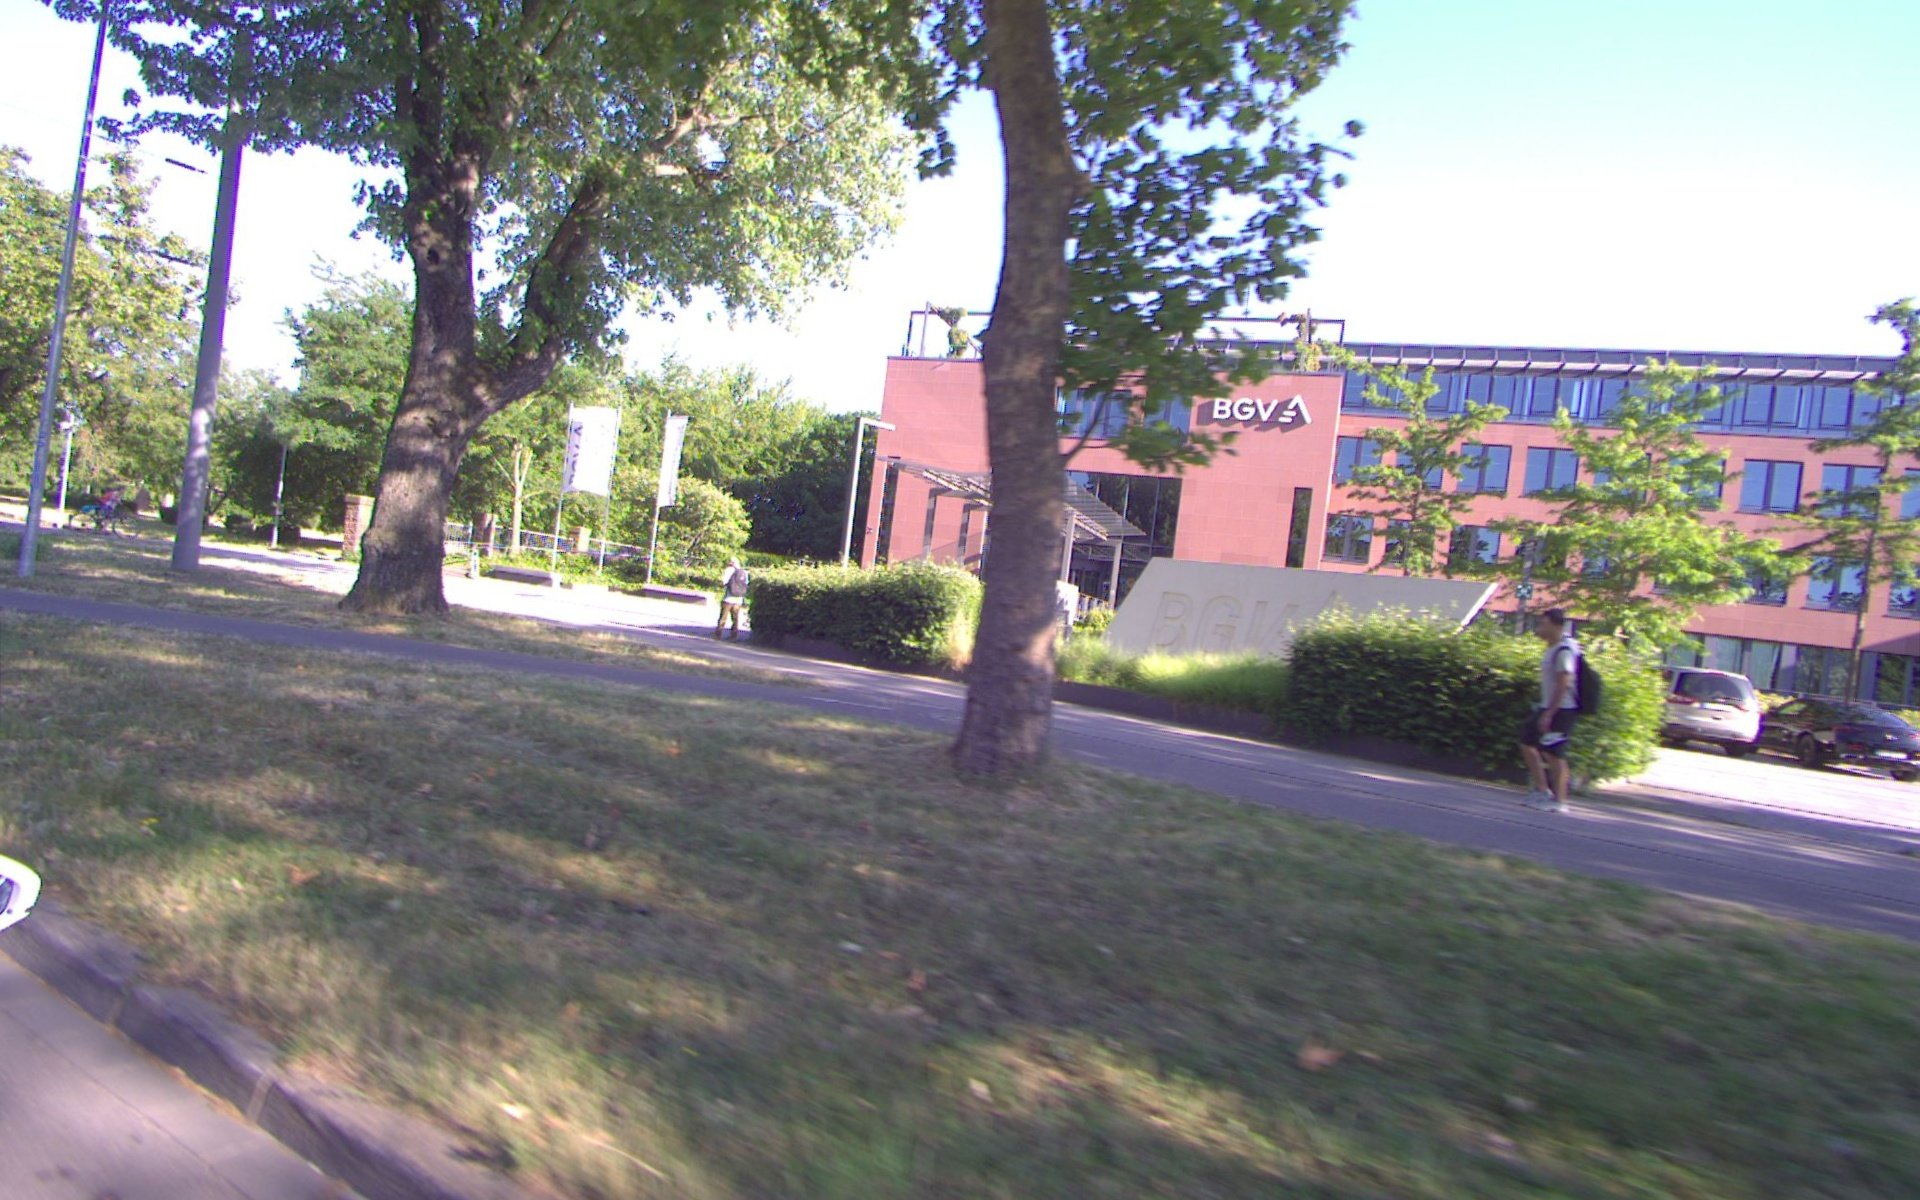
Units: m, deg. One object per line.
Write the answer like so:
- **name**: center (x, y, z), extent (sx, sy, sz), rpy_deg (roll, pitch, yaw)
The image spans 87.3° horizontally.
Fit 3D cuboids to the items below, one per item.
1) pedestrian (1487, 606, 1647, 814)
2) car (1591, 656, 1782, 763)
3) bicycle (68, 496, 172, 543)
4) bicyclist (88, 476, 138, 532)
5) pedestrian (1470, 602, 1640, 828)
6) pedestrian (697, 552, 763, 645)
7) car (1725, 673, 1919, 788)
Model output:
- **pedestrian**: center (5.966, 1.042, 9.893), extent (1.093, 1.816, 0.805), rpy_deg (7, 2, 37)
- **car**: center (16.075, 2.330, 22.597), extent (1.813, 1.735, 4.686), rpy_deg (8, 1, 16)
- **bicycle**: center (-25.897, -2.469, 31.056), extent (0.754, 1.053, 2.261), rpy_deg (8, 0, 35)
- **bicyclist**: center (-25.973, -2.940, 30.861), extent (0.755, 1.515, 0.903), rpy_deg (8, 1, 36)
- **pedestrian**: center (5.390, 0.999, 9.115), extent (1.069, 1.816, 0.750), rpy_deg (7, 2, 37)
- **pedestrian**: center (-4.119, -0.021, 18.016), extent (0.771, 1.559, 0.649), rpy_deg (7, 2, 37)
- **car**: center (18.210, 2.631, 20.981), extent (1.813, 1.735, 4.686), rpy_deg (8, 1, 16)
